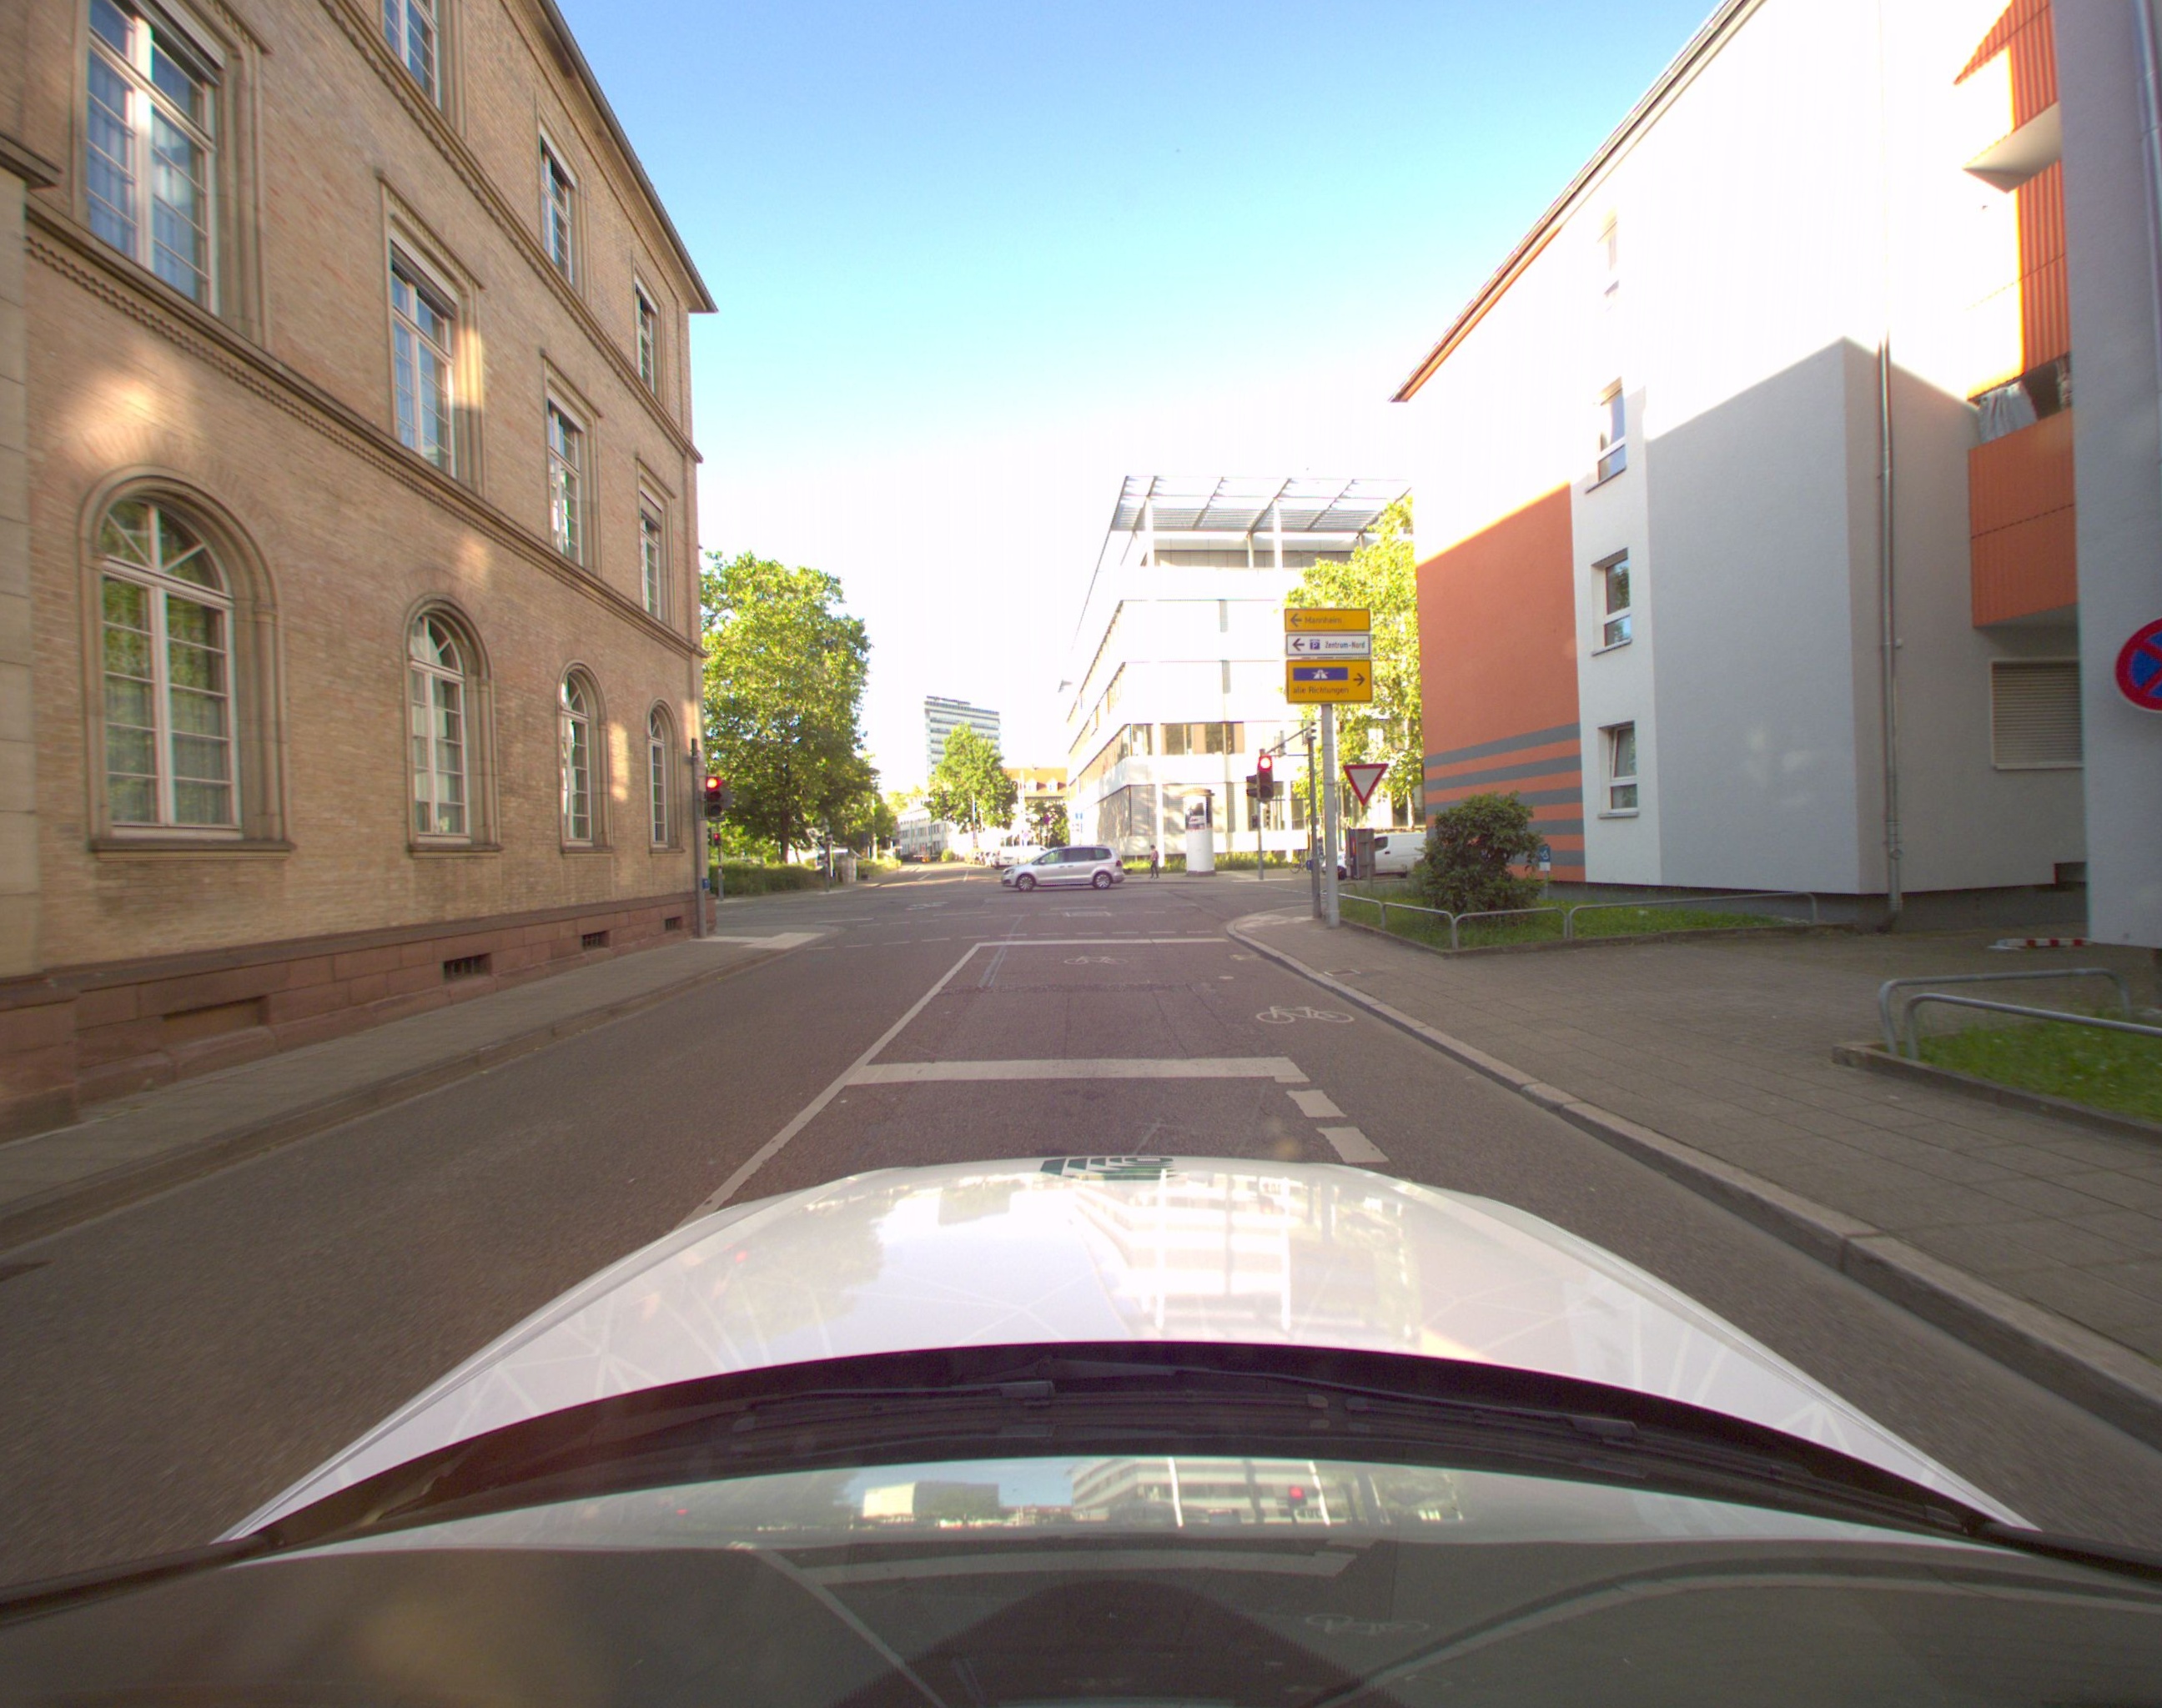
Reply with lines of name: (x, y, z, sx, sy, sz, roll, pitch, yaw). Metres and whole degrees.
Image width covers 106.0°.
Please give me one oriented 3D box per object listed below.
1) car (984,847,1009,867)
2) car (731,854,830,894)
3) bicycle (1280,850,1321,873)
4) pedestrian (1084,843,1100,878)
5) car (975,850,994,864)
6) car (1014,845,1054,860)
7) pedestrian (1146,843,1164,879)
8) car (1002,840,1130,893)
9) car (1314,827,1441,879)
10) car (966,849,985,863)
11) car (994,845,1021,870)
car: (-8.240, 0.279, 79.080, 1.948, 1.795, 4.221, -2, 0, -11)
car: (-14.967, 0.958, 40.761, 4.221, 1.777, 1.900, -2, 0, -8)
bicycle: (10.381, 0.356, 38.511, 0.467, 1.049, 1.892, -2, 0, -41)
pedestrian: (0.547, 0.337, 41.956, 0.648, 1.736, 0.814, -2, 0, 9)
car: (-10.493, 0.326, 88.427, 1.704, 1.464, 4.224, -2, 0, -10)
car: (-6.089, -0.187, 105.411, 4.891, 1.872, 1.989, -1, -1, -16)
pedestrian: (3.441, 0.320, 37.883, 0.707, 1.599, 0.619, -2, 0, 12)
car: (-0.611, 0.452, 31.549, 4.751, 1.707, 1.797, -3, 0, -5)
car: (11.937, -0.061, 32.906, 4.534, 1.799, 1.634, -3, 0, -6)
car: (-12.754, 0.239, 98.271, 2.101, 1.657, 4.460, -2, 0, -10)
car: (-6.095, 0.283, 67.189, 2.065, 1.963, 4.227, -2, 0, -7)
